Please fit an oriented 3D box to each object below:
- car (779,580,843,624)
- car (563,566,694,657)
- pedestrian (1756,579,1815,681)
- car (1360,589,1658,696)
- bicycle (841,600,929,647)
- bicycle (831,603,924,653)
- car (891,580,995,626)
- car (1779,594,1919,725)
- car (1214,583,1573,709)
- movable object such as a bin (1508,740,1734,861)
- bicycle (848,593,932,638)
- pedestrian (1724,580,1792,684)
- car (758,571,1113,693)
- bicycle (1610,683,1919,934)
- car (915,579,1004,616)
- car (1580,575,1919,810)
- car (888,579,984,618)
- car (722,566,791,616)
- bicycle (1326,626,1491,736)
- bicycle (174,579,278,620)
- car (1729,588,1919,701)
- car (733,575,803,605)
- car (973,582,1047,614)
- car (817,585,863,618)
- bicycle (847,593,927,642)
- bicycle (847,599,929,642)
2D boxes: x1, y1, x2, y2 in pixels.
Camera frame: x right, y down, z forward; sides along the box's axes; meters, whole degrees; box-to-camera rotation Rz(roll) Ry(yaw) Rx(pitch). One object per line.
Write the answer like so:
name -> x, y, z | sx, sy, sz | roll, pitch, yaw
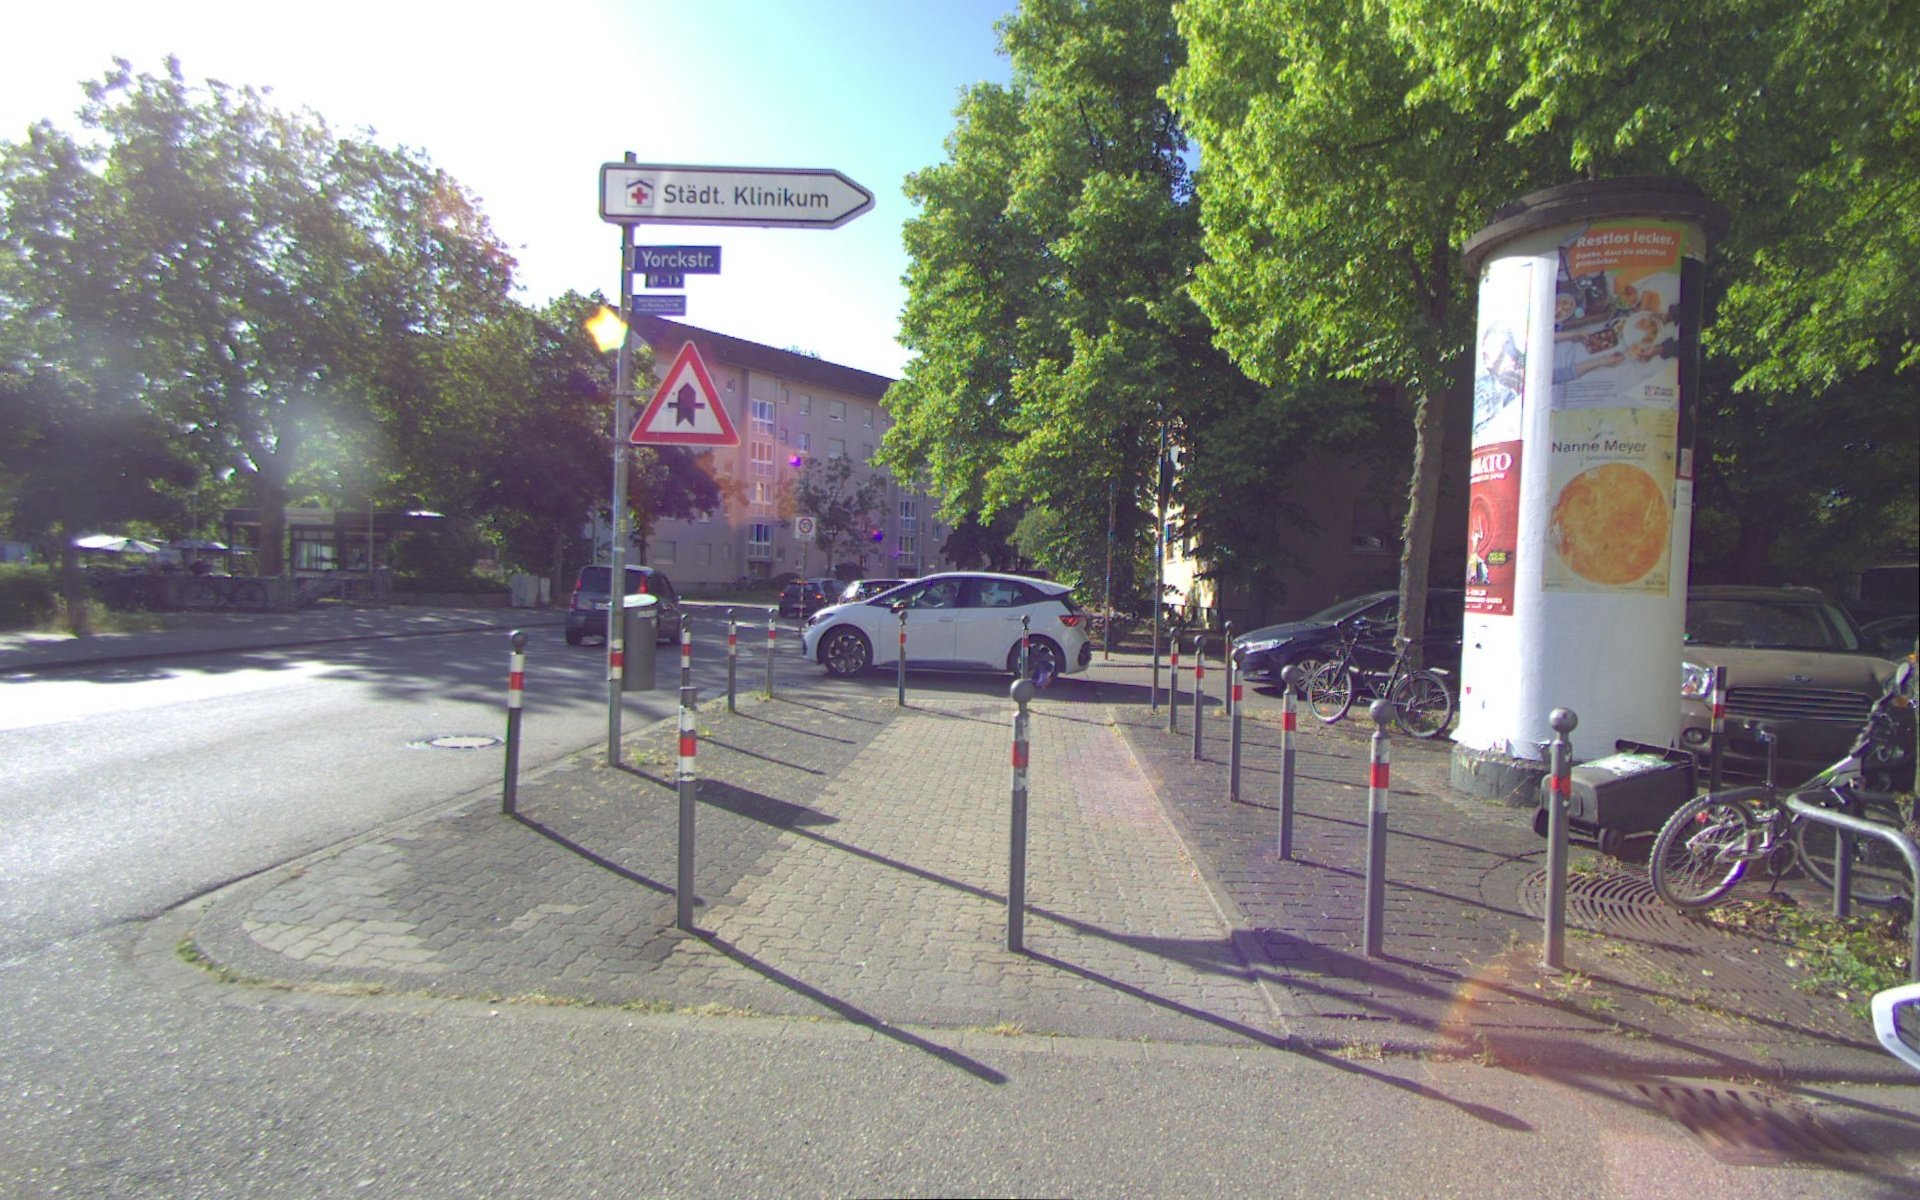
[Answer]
car -> -5.584, 0.039, 38.019 | 1.650, 1.528, 3.759 | 2, 1, 3
car -> -6.269, 0.180, 19.320 | 1.590, 1.582, 3.255 | 1, 1, -4
pedestrian -> 14.672, 0.520, 17.867 | 0.730, 1.759, 0.537 | 2, 1, 37
car -> 8.840, 0.642, 16.457 | 3.870, 1.532, 1.760 | 1, 1, 4
bicycle -> -1.732, 0.537, 23.227 | 1.996, 1.045, 0.468 | 1, 1, -5
bicycle -> -1.808, 0.602, 21.981 | 1.996, 1.045, 0.570 | 1, 1, -5
car -> -0.594, 0.110, 34.413 | 3.209, 1.501, 1.613 | 1, 1, -21
car -> 13.069, 0.741, 12.804 | 3.873, 1.506, 1.759 | 1, 1, -3
car -> 5.911, 0.584, 14.157 | 4.214, 1.539, 1.909 | 1, 1, 4
movable object such as a bin -> 4.028, 1.199, 6.141 | 1.096, 0.572, 0.575 | 1, 1, -17
bicycle -> -1.697, 0.370, 24.328 | 1.996, 1.045, 0.448 | 1, 1, -5
pedestrian -> 13.837, 0.539, 17.433 | 0.529, 1.759, 0.742 | 1, 1, 0
car -> -0.273, 0.416, 14.854 | 4.935, 1.539, 1.924 | 2, 1, 7
bicycle -> 3.938, 0.963, 4.744 | 1.563, 1.086, 0.353 | 1, 1, -7
car -> -0.026, -0.118, 43.812 | 3.539, 1.501, 1.613 | 1, 1, -21
car -> 7.059, 0.655, 9.141 | 1.886, 1.632, 3.997 | 2, 1, 25
car -> -0.963, -0.058, 40.636 | 3.539, 1.501, 1.613 | 1, 1, -21
car -> -8.947, -0.389, 44.549 | 2.122, 2.040, 4.426 | 1, 1, 0
bicycle -> 4.623, 0.833, 10.368 | 1.563, 1.086, 0.353 | 1, 1, -7
bicycle -> -19.224, -0.012, 26.330 | 2.267, 0.995, 0.557 | 1, 1, -1
car -> 15.139, 0.699, 16.109 | 4.162, 1.662, 1.760 | 1, 1, 2
car -> -12.256, -0.647, 63.883 | 4.359, 1.822, 2.058 | 2, 1, 40
car -> 2.558, -0.115, 51.015 | 3.520, 1.501, 1.622 | 1, 1, 9
car -> -5.833, 0.032, 49.261 | 1.650, 1.528, 3.597 | 1, 1, 2
bicycle -> -1.867, 0.441, 25.604 | 1.996, 1.193, 0.667 | 1, 1, -5
bicycle -> -1.782, 0.502, 24.922 | 1.996, 1.045, 0.448 | 1, 1, -5
